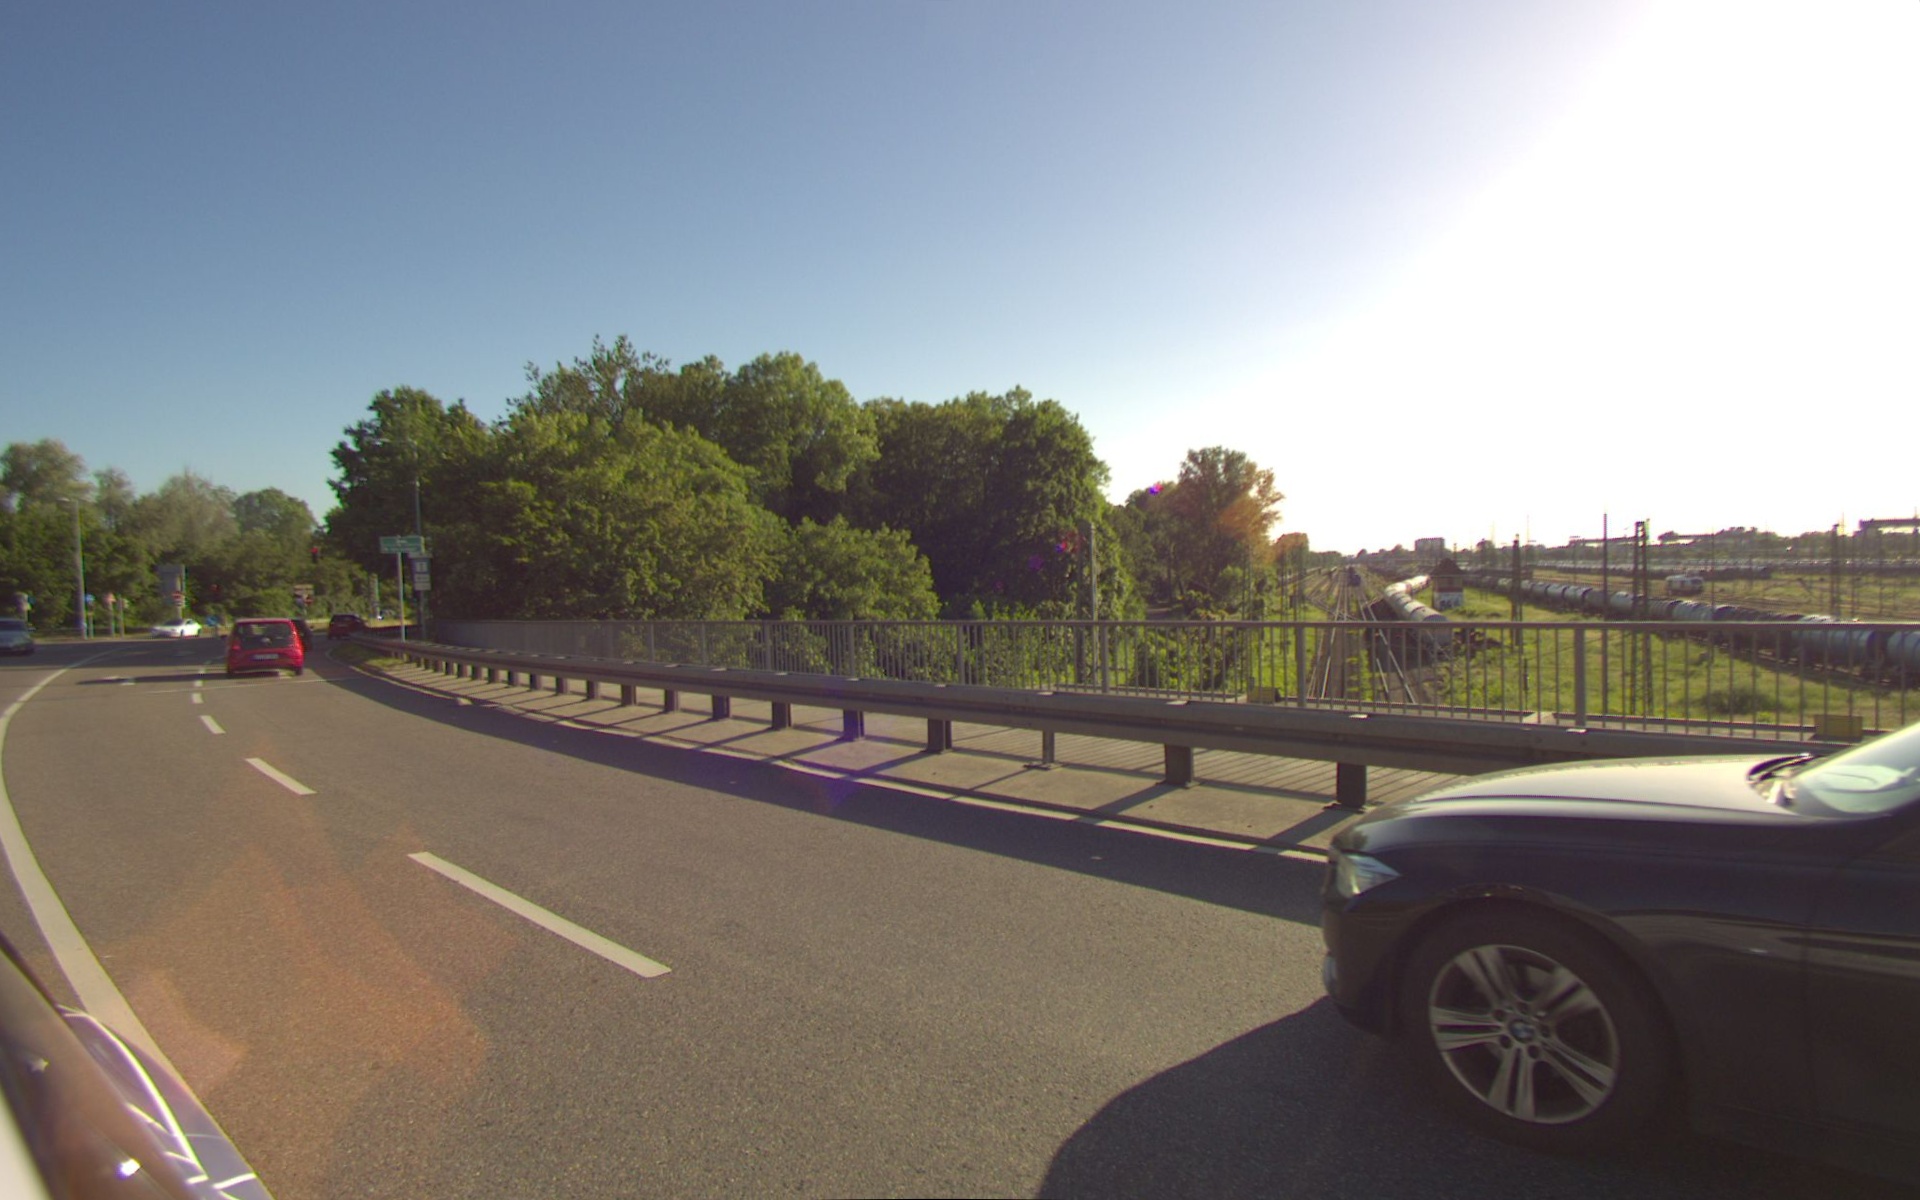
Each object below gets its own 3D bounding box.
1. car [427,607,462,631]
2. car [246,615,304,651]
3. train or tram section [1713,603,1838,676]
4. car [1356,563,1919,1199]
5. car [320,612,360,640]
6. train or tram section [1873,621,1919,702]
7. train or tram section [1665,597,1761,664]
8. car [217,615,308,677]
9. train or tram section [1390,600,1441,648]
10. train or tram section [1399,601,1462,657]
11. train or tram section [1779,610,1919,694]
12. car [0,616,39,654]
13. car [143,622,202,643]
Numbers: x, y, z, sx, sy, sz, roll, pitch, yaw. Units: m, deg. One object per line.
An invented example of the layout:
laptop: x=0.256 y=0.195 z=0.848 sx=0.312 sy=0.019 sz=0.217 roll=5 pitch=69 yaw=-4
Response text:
car: x=-48.005 y=1.746 z=94.304 sx=1.922 sy=2.128 sz=5.286 roll=1 pitch=-1 yaw=-17
car: x=-30.255 y=1.425 z=44.804 sx=1.700 sy=1.497 sz=4.421 roll=0 pitch=0 yaw=-29
train or tram section: x=74.551 y=3.362 z=93.207 sx=3.878 sy=6.055 sz=16.841 roll=-1 pitch=0 yaw=21
car: x=3.383 y=0.624 z=2.214 sx=4.318 sy=1.450 sz=1.854 roll=-1 pitch=0 yaw=41
car: x=-38.966 y=1.595 z=63.668 sx=1.779 sy=1.650 sz=4.013 roll=-1 pitch=0 yaw=-26
train or tram section: x=62.745 y=3.996 z=62.441 sx=3.878 sy=5.054 sz=16.251 roll=-1 pitch=0 yaw=21
train or tram section: x=80.489 y=3.021 z=108.745 sx=3.878 sy=6.661 sz=16.389 roll=-1 pitch=0 yaw=21
car: x=-18.161 y=1.127 z=26.294 sx=1.758 sy=1.448 sz=3.883 roll=0 pitch=-1 yaw=-37
train or tram section: x=53.820 y=2.654 z=120.104 sx=4.019 sy=5.125 sz=18.066 roll=-1 pitch=0 yaw=20
train or tram section: x=47.373 y=2.709 z=102.540 sx=4.019 sy=5.125 sz=19.223 roll=-1 pitch=0 yaw=20
train or tram section: x=68.595 y=3.693 z=77.681 sx=3.878 sy=5.560 sz=16.389 roll=-1 pitch=0 yaw=21
car: x=-38.174 y=1.385 z=40.318 sx=1.737 sy=1.447 sz=4.340 roll=-1 pitch=0 yaw=-36
car: x=-60.233 y=2.454 z=77.485 sx=1.961 sy=1.484 sz=4.140 roll=-1 pitch=0 yaw=-13
